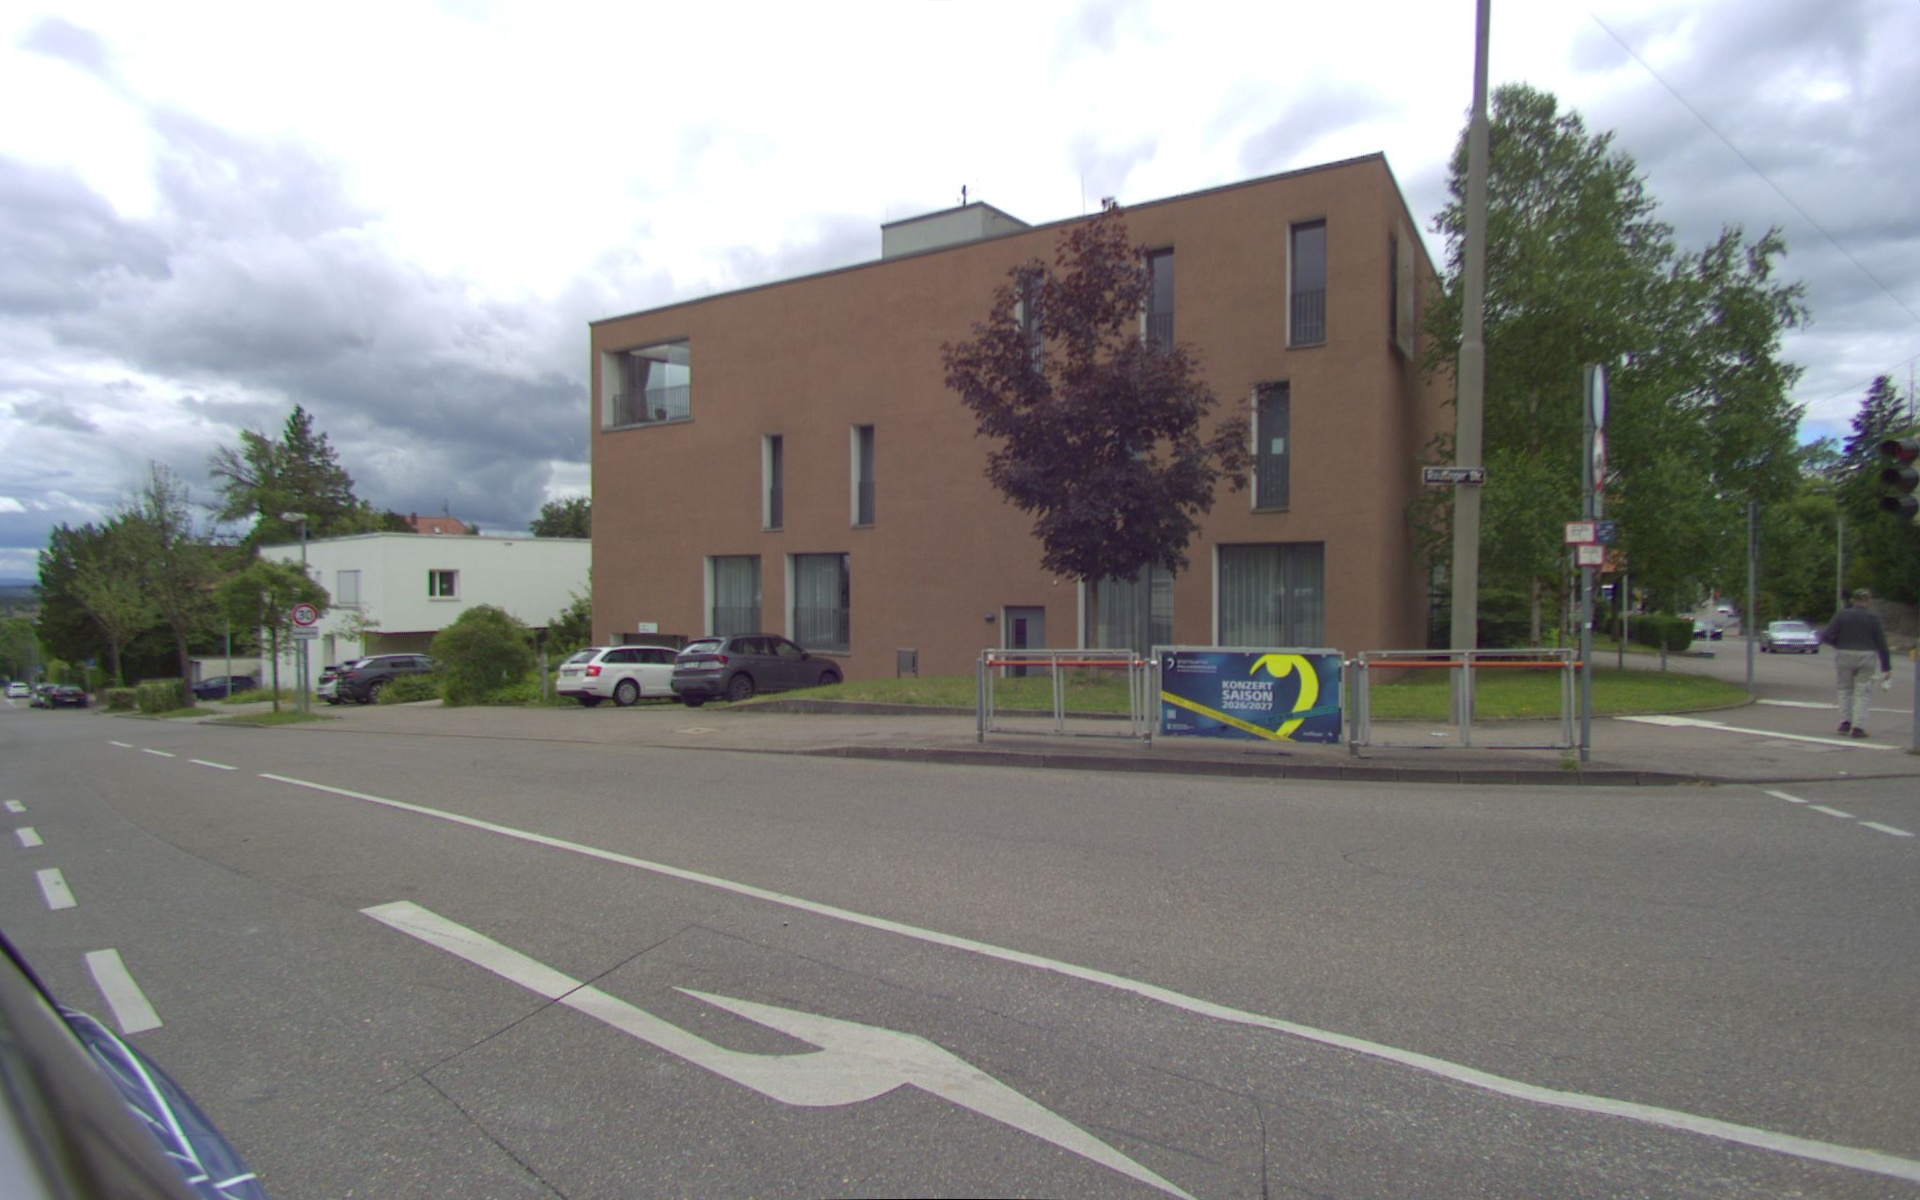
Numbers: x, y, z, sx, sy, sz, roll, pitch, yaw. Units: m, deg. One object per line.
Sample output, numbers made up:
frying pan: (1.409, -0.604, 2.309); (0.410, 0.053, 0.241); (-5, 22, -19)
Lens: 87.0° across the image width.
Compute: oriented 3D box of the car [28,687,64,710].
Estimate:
car: (-61.551, 6.638, 68.150); (1.638, 1.432, 4.371); (0, -4, -44)

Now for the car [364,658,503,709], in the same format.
car: (-18.227, 2.883, 35.151); (1.727, 1.497, 3.943); (-6, -4, 43)

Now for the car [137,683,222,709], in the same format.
car: (-46.966, 5.746, 60.937); (3.939, 1.296, 1.665); (0, -4, -43)

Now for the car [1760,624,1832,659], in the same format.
car: (37.637, 1.854, 45.646); (1.702, 1.424, 4.381); (-2, -1, 29)

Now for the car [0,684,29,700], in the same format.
car: (-95.899, 9.312, 102.357); (4.362, 1.432, 1.861); (-3, -3, 38)

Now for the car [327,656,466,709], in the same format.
car: (-19.970, 2.904, 35.936); (1.793, 1.608, 3.943); (-6, -4, 43)

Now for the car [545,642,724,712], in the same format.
car: (-7.992, 1.879, 25.122); (1.724, 1.497, 3.950); (-5, -4, 37)

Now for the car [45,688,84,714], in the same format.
car: (-54.928, 6.179, 62.071); (1.638, 1.432, 4.003); (0, -4, -44)

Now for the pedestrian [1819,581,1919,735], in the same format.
pedestrian: (10.163, 0.635, 11.287); (0.728, 1.646, 0.685); (1, -3, -38)

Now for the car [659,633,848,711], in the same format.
car: (-4.508, 1.553, 22.532); (1.724, 1.497, 3.950); (-5, -4, 37)
